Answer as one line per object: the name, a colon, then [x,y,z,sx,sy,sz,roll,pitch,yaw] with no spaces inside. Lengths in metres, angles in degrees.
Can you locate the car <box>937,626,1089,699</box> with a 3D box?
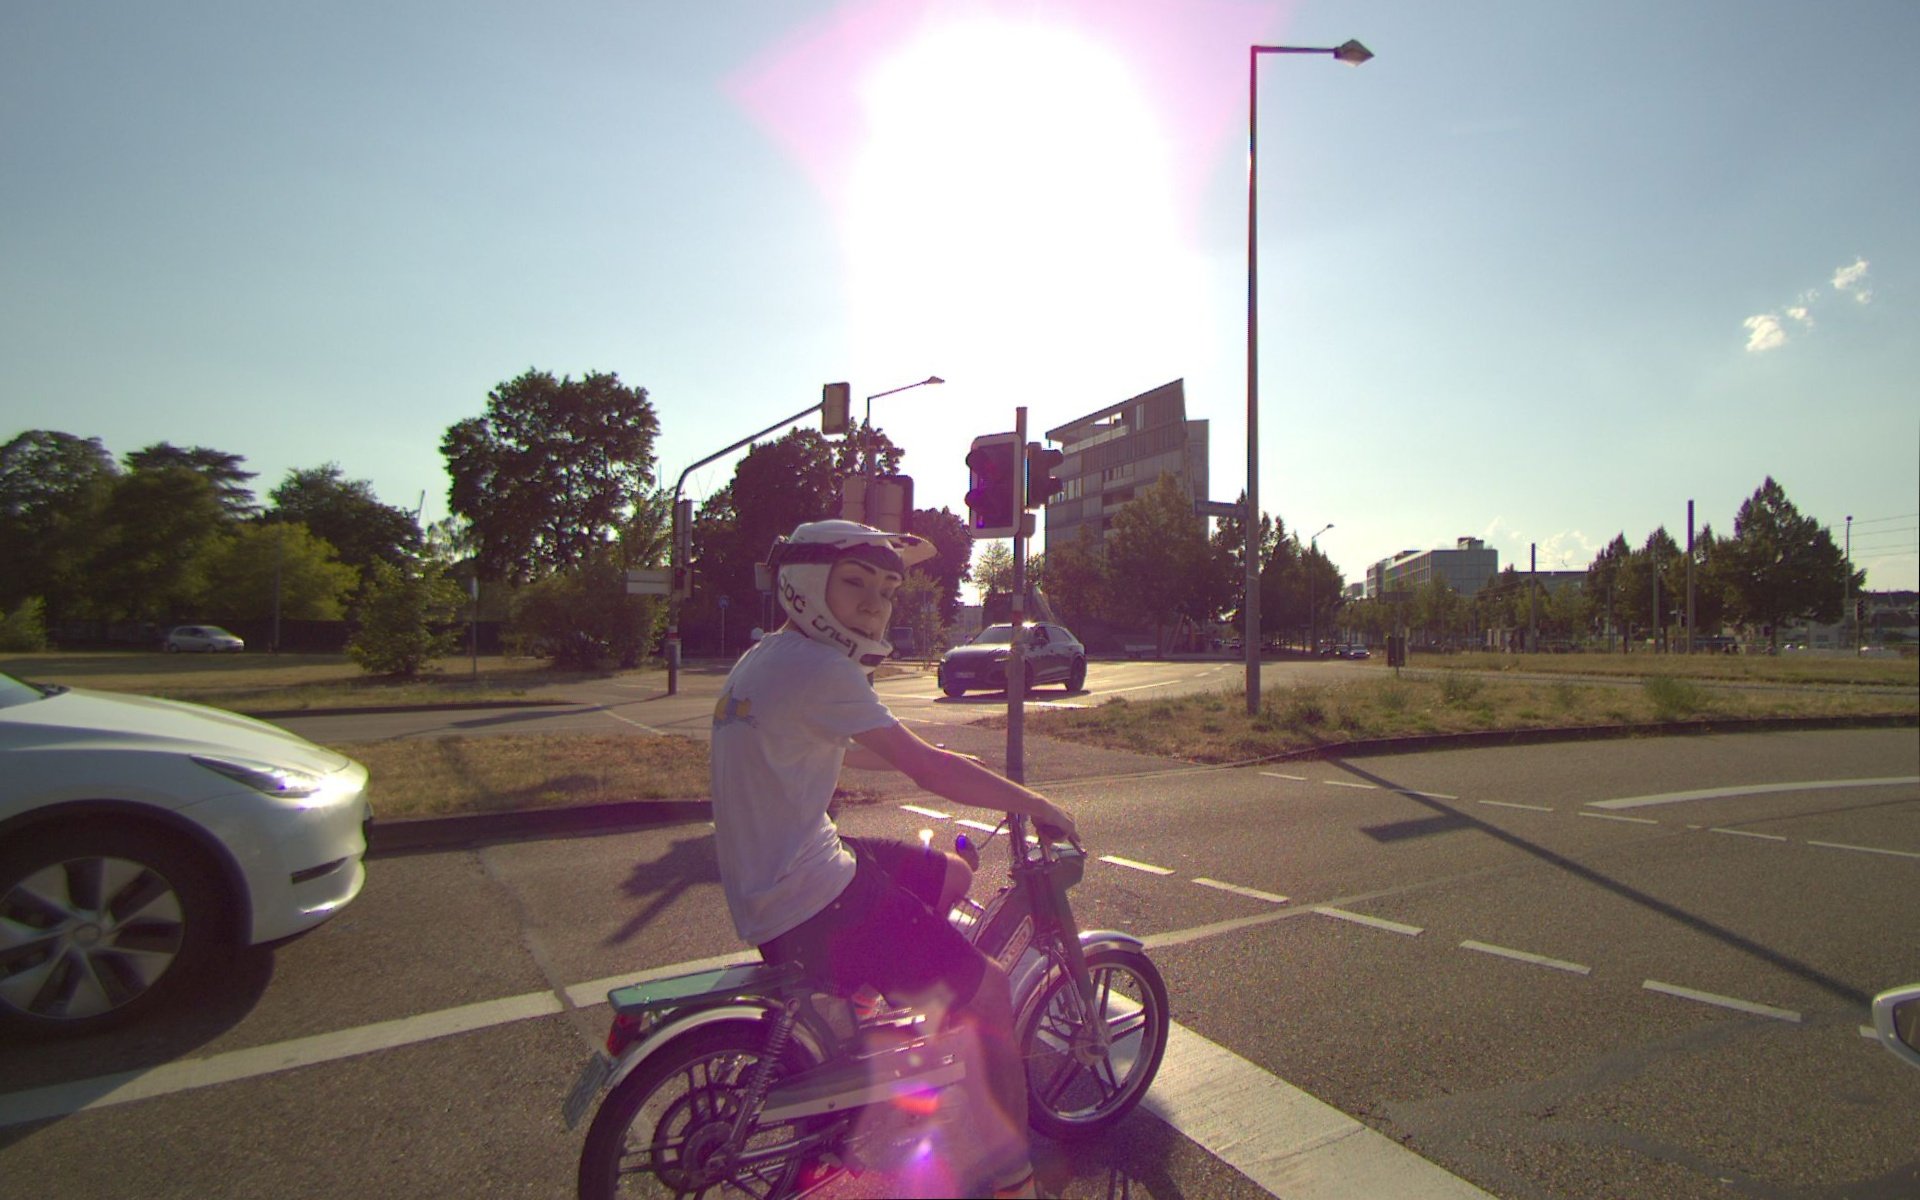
car: [1.367,1.409,23.581,1.624,1.532,4.635,-2,-3,30]

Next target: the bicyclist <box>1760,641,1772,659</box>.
bicyclist: [63.219,3.931,78.782,0.643,1.343,0.517,-1,-2,35]

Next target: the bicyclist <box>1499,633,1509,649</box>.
bicyclist: [45.498,3.437,83.986,0.641,1.343,0.519,0,-1,14]

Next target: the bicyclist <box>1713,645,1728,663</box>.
bicyclist: [60.559,4.305,80.004,0.941,1.375,0.691,-1,-2,34]

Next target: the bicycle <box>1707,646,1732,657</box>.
bicycle: [60.496,4.113,80.035,1.592,0.871,0.543,-1,-2,35]

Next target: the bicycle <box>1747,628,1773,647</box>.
bicycle: [62.312,2.903,78.241,1.519,1.493,0.478,-1,-2,36]

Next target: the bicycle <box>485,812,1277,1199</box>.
bicycle: [-0.082,1.060,2.354,1.834,0.887,0.475,1,-2,-31]

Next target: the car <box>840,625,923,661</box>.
car: [-4.535,2.490,58.531,4.727,2.040,2.000,0,-2,-3]

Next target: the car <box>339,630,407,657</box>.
car: [-36.116,2.664,61.826,3.308,1.567,1.584,0,-2,9]

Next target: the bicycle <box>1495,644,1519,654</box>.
bicycle: [45.662,4.089,83.916,1.687,0.754,0.481,0,-2,15]

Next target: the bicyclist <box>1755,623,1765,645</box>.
bicyclist: [62.304,2.614,78.216,0.599,1.694,0.476,0,-2,36]

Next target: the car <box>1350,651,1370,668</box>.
car: [36.598,5.451,91.963,1.455,1.495,3.301,0,-2,17]

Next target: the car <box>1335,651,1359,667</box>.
car: [39.111,5.977,101.484,1.960,1.495,4.002,0,-2,17]

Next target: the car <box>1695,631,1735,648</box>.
car: [89.273,4.674,118.849,1.960,2.040,4.002,0,-2,5]

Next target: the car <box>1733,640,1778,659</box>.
car: [87.755,5.444,110.807,1.960,2.040,4.002,0,-2,5]

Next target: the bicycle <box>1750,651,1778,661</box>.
bicycle: [63.087,4.386,78.854,1.693,0.754,0.479,-1,-2,35]

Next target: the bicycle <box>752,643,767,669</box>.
bicycle: [-8.129,2.255,40.685,0.360,1.046,1.439,0,-2,-2]

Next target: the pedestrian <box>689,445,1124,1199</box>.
pedestrian: [-0.140,0.487,2.422,0.844,1.539,0.653,1,-2,-30]

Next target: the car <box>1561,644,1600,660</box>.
car: [51.364,4.284,83.222,2.625,1.278,1.113,-1,-2,26]

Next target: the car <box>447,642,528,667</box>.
car: [-29.968,3.427,63.747,4.317,1.545,1.656,0,-2,-4]

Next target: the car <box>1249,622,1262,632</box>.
car: [47.022,4.301,159.939,1.753,1.576,4.002,2,0,14]

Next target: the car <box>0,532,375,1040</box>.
car: [-4.595,0.562,3.171,4.630,1.620,1.724,2,-1,-35]

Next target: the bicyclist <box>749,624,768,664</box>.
bicyclist: [-8.169,1.776,40.714,0.629,1.576,0.630,0,-1,-3]

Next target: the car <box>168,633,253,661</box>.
car: [-43.157,2.680,57.878,3.863,1.545,1.658,0,-2,9]

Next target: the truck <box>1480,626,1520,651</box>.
truck: [73.077,5.163,136.057,3.074,3.273,7.178,0,-2,14]
